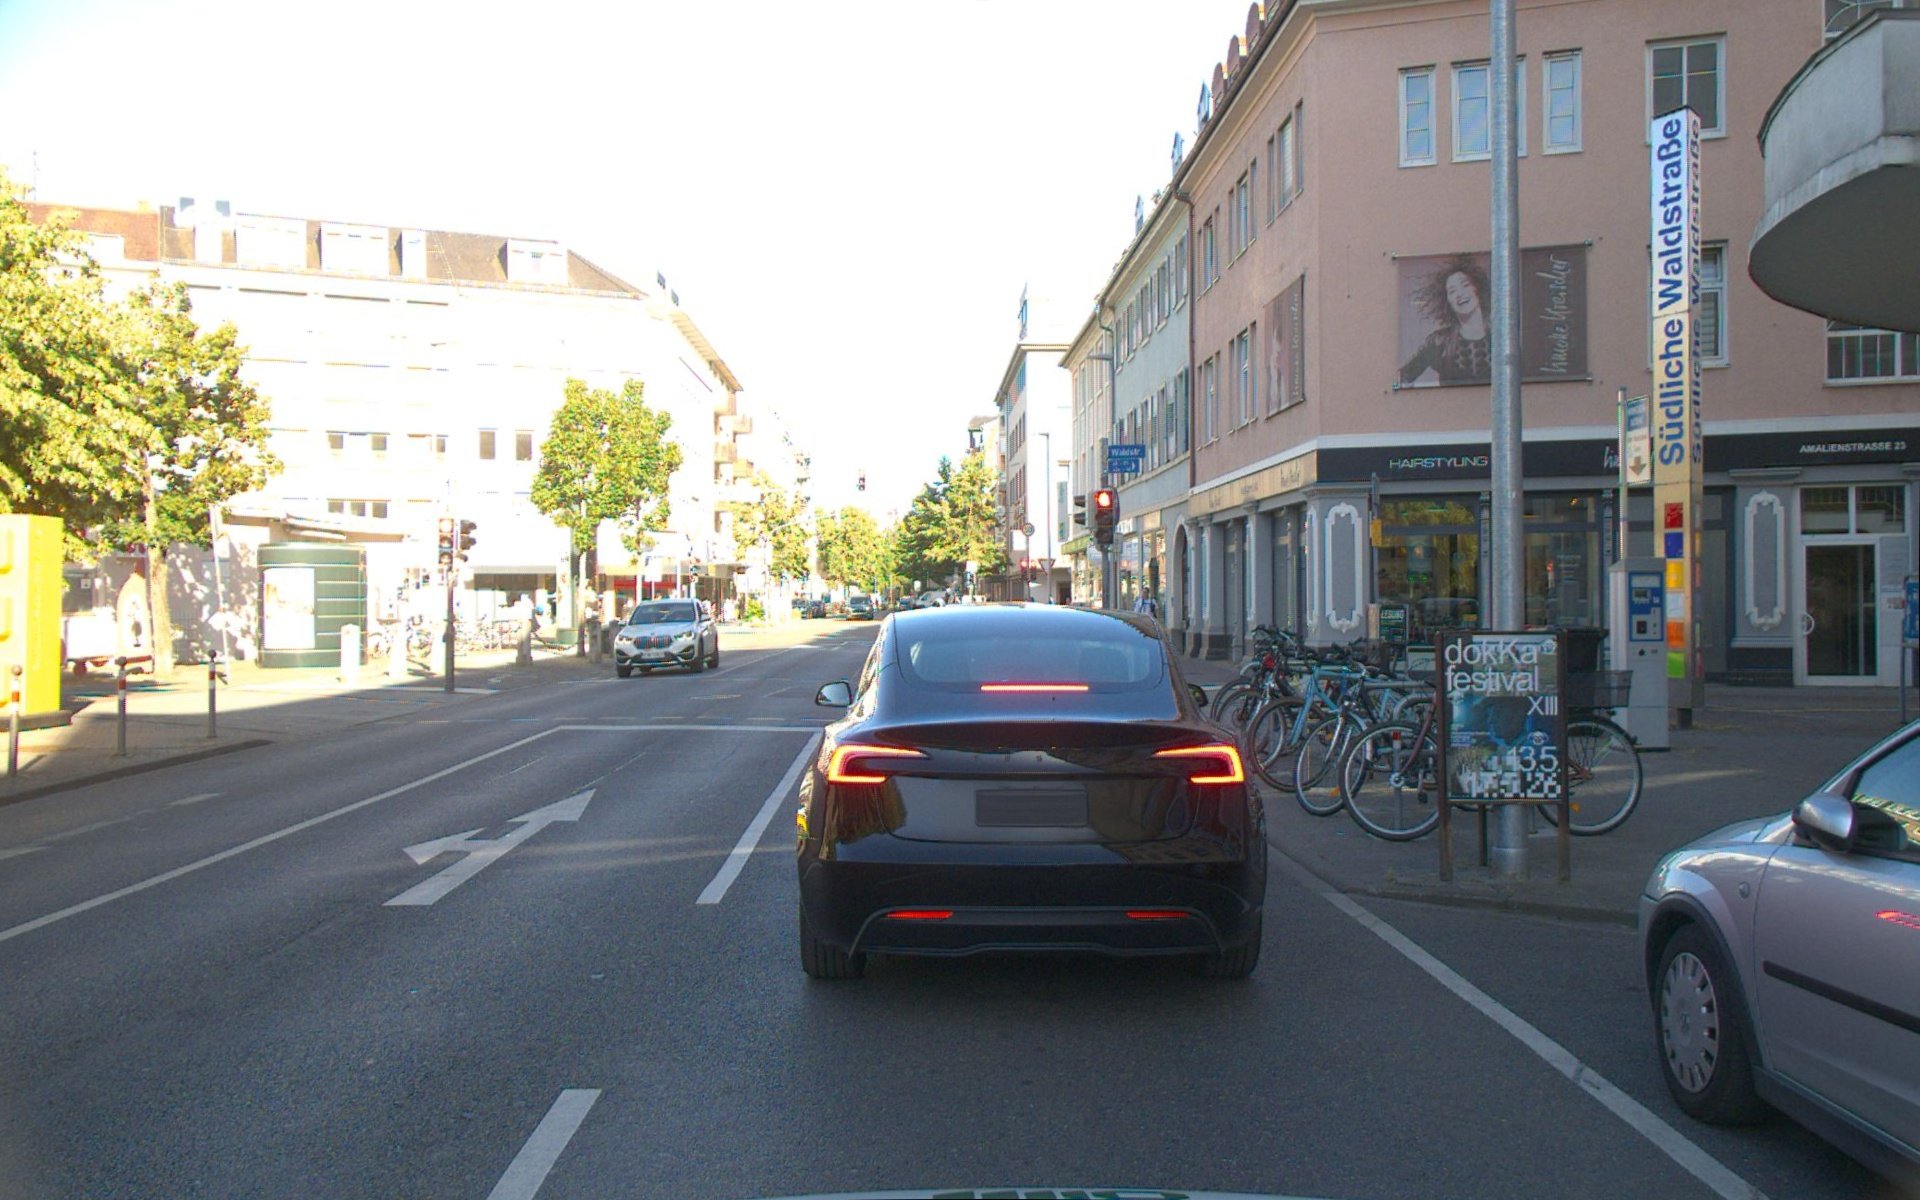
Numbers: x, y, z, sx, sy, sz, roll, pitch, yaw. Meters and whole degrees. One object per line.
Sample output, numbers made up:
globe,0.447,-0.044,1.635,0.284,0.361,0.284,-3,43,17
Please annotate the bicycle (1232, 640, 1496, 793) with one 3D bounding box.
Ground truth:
bicycle,3.012,0.864,12.431,1.834,1.056,0.533,-2,-1,3

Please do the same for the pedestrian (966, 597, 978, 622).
pedestrian,0.687,0.546,95.755,0.467,1.442,0.516,1,-1,-32

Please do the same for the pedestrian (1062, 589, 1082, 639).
pedestrian,4.046,0.499,59.738,0.692,1.773,0.540,0,0,-1

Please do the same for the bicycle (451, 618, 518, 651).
bicycle,-14.236,1.041,49.525,1.826,0.950,0.606,1,0,-2

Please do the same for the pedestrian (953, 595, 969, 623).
pedestrian,0.061,0.550,103.625,0.708,1.725,0.843,0,0,-28

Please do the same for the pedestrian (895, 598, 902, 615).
pedestrian,-7.533,0.807,202.531,0.912,2.049,0.938,1,-1,-1

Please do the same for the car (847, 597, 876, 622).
car,-6.781,0.656,114.436,1.751,1.675,4.401,1,0,-1

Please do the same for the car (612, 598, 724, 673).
car,-6.298,0.742,36.023,1.752,1.485,3.756,-2,0,-1

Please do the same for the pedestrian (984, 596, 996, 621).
pedestrian,1.758,0.513,95.800,0.516,1.447,0.474,1,-1,-31

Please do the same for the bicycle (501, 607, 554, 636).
bicycle,-20.325,1.025,77.675,2.334,1.318,0.509,1,-1,-27

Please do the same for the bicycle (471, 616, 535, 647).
bicycle,-14.340,0.986,51.925,1.826,0.950,0.606,0,0,-2

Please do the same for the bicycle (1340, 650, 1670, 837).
bicycle,3.273,0.865,10.016,1.833,1.056,0.353,-2,-1,6

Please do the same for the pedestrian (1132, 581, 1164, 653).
pedestrian,4.833,0.437,42.480,0.735,1.796,0.837,1,0,3

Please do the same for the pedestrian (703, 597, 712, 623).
pedestrian,-14.373,0.550,94.180,0.451,1.486,0.517,0,0,-6

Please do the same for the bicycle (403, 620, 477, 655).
bicycle,-14.134,1.020,44.978,1.826,0.950,0.606,0,0,-2

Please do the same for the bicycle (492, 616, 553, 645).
bicycle,-14.375,0.996,54.373,1.826,0.950,0.606,0,0,-2

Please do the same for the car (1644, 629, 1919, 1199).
car,2.904,0.794,3.463,1.515,1.415,3.476,0,0,0

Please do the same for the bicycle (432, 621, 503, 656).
bicycle,-14.000,1.086,47.055,1.826,0.950,0.606,1,0,-2

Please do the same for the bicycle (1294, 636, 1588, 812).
bicycle,3.233,0.828,11.194,1.834,1.106,0.414,-2,-1,3

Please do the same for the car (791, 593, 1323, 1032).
car,0.301,0.721,7.556,1.785,1.467,3.999,0,0,-1

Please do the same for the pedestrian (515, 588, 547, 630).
pedestrian,-20.813,0.440,80.309,1.037,2.049,1.053,1,-1,29

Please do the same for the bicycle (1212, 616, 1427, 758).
bicycle,3.191,0.768,14.780,1.789,1.189,0.506,-2,-1,5

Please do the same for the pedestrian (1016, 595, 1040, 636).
pedestrian,2.851,0.648,69.373,0.742,1.660,0.951,1,-1,-18

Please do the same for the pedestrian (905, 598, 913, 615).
pedestrian,-6.271,0.829,202.506,0.912,2.049,0.938,1,-1,-1

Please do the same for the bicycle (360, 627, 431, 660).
bicycle,-14.461,1.110,42.388,1.612,0.806,0.606,1,0,-5

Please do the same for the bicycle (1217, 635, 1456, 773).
bicycle,3.080,0.848,13.645,1.833,1.056,0.548,-2,-1,5

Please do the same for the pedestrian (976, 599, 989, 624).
pedestrian,1.298,0.654,95.271,0.516,1.447,0.474,1,-1,-31

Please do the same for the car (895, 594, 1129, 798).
car,0.303,0.686,13.773,1.683,1.450,3.755,0,0,-2

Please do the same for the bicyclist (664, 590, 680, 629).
bicyclist,-11.488,0.388,65.929,0.516,1.530,0.472,1,-1,-26
